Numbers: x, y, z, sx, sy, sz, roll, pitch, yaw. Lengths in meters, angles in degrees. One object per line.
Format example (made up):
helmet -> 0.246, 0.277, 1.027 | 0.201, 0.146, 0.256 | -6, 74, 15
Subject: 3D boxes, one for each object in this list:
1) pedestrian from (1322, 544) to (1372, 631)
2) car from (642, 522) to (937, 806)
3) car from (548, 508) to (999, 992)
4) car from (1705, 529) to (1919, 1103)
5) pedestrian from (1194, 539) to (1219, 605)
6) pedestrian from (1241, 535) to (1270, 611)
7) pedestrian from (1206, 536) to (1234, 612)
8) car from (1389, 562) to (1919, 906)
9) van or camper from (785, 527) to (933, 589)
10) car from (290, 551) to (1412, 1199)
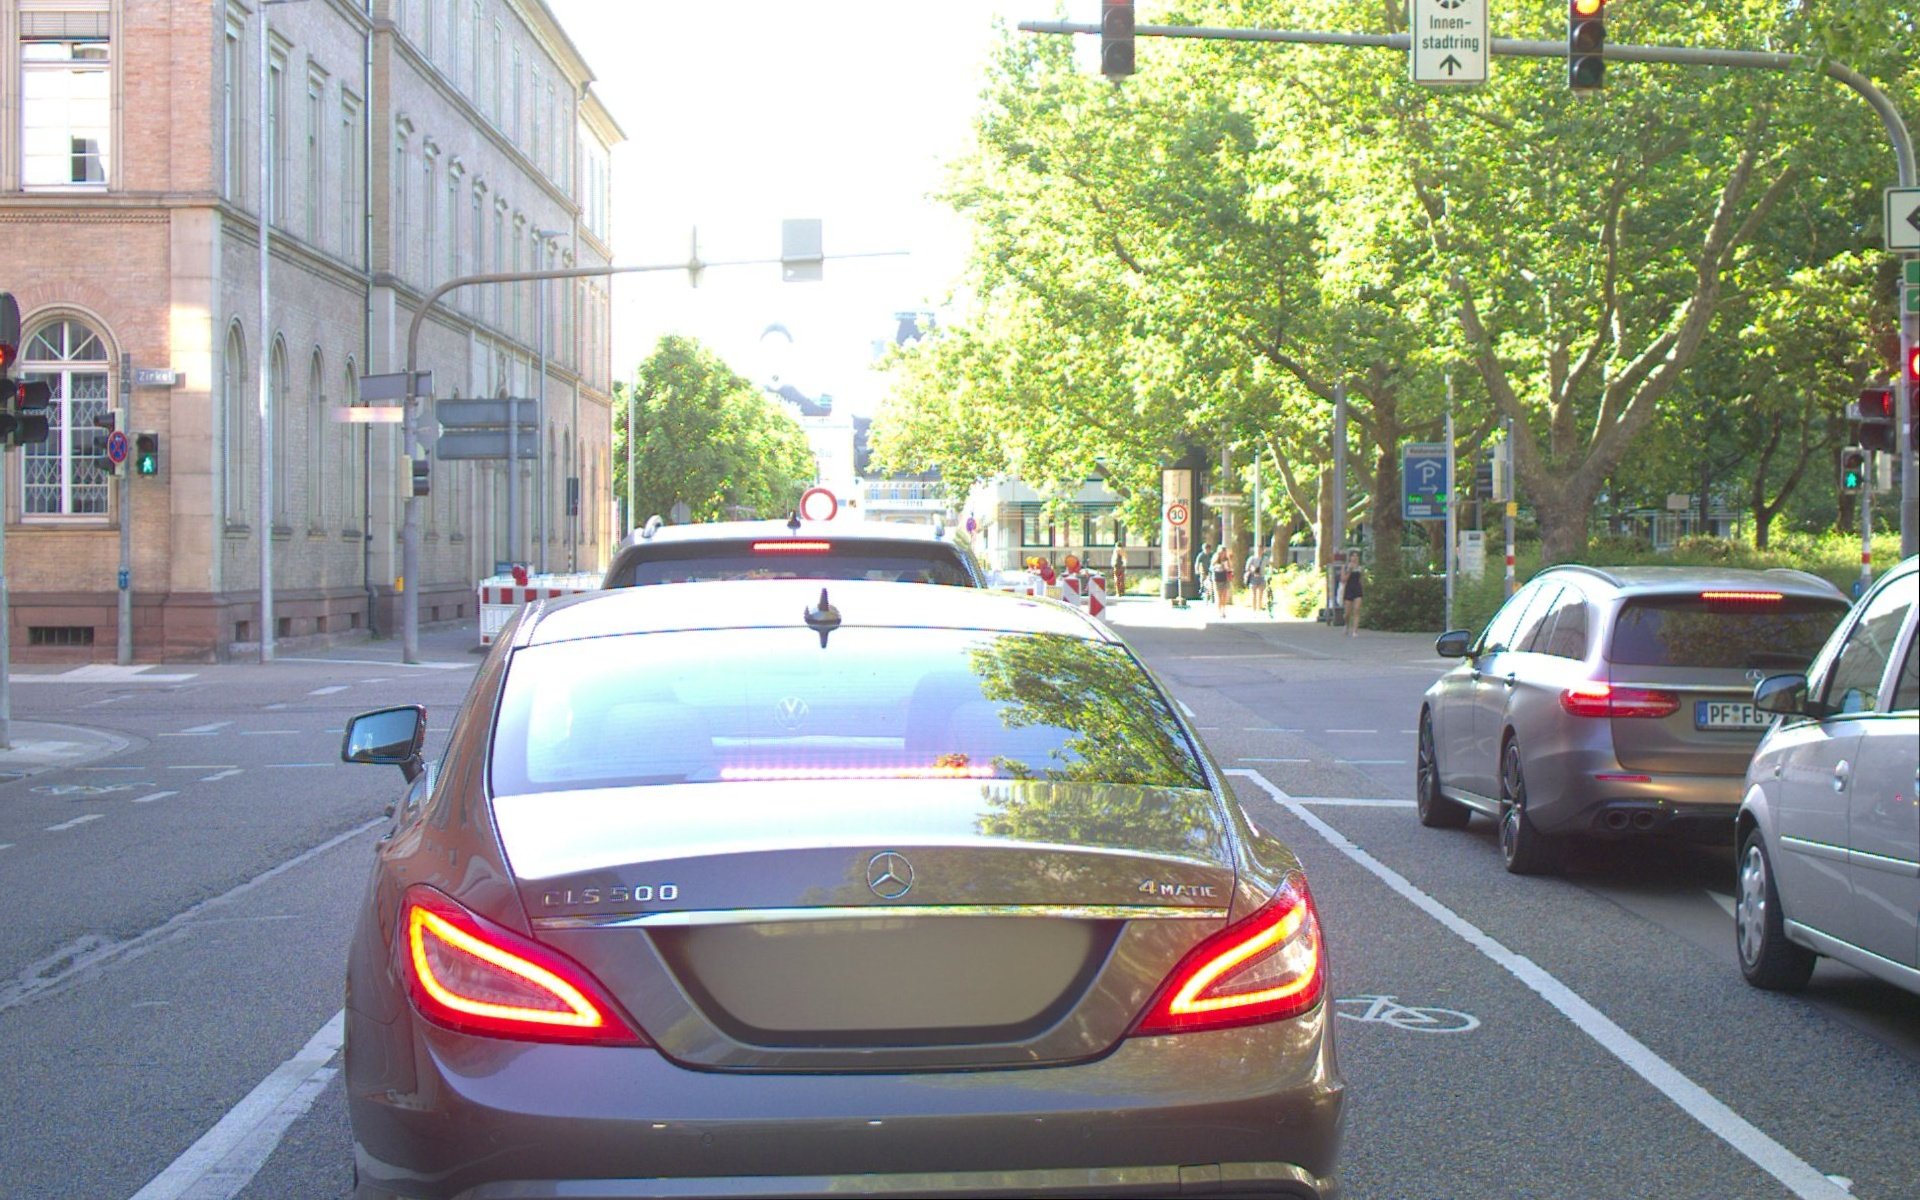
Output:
pedestrian -> 7.182, -0.230, 63.770 | 0.830, 1.601, 0.651 | 1, 1, -1
car -> -1.077, 0.362, 23.250 | 1.820, 1.756, 4.000 | 0, 1, -1
car -> -0.724, 0.482, 13.670 | 1.517, 1.641, 3.881 | 1, 1, -3
car -> 3.572, 0.609, 10.686 | 1.701, 1.597, 3.859 | 2, 1, 1
pedestrian -> 6.852, -0.789, 95.683 | 0.611, 1.815, 0.932 | 1, 1, -1
pedestrian -> 7.061, -0.649, 82.080 | 0.603, 1.815, 0.651 | 1, 1, -1
pedestrian -> 6.207, -0.621, 82.128 | 0.603, 1.815, 0.651 | 1, 1, -1
car -> 3.475, 0.570, 17.552 | 1.913, 1.459, 4.669 | 1, 1, -1
van or camper -> -3.253, -1.349, 110.388 | 4.590, 1.935, 1.995 | 1, 1, 41
car -> -0.448, 0.631, 7.683 | 1.803, 1.451, 4.352 | 0, 1, -8
